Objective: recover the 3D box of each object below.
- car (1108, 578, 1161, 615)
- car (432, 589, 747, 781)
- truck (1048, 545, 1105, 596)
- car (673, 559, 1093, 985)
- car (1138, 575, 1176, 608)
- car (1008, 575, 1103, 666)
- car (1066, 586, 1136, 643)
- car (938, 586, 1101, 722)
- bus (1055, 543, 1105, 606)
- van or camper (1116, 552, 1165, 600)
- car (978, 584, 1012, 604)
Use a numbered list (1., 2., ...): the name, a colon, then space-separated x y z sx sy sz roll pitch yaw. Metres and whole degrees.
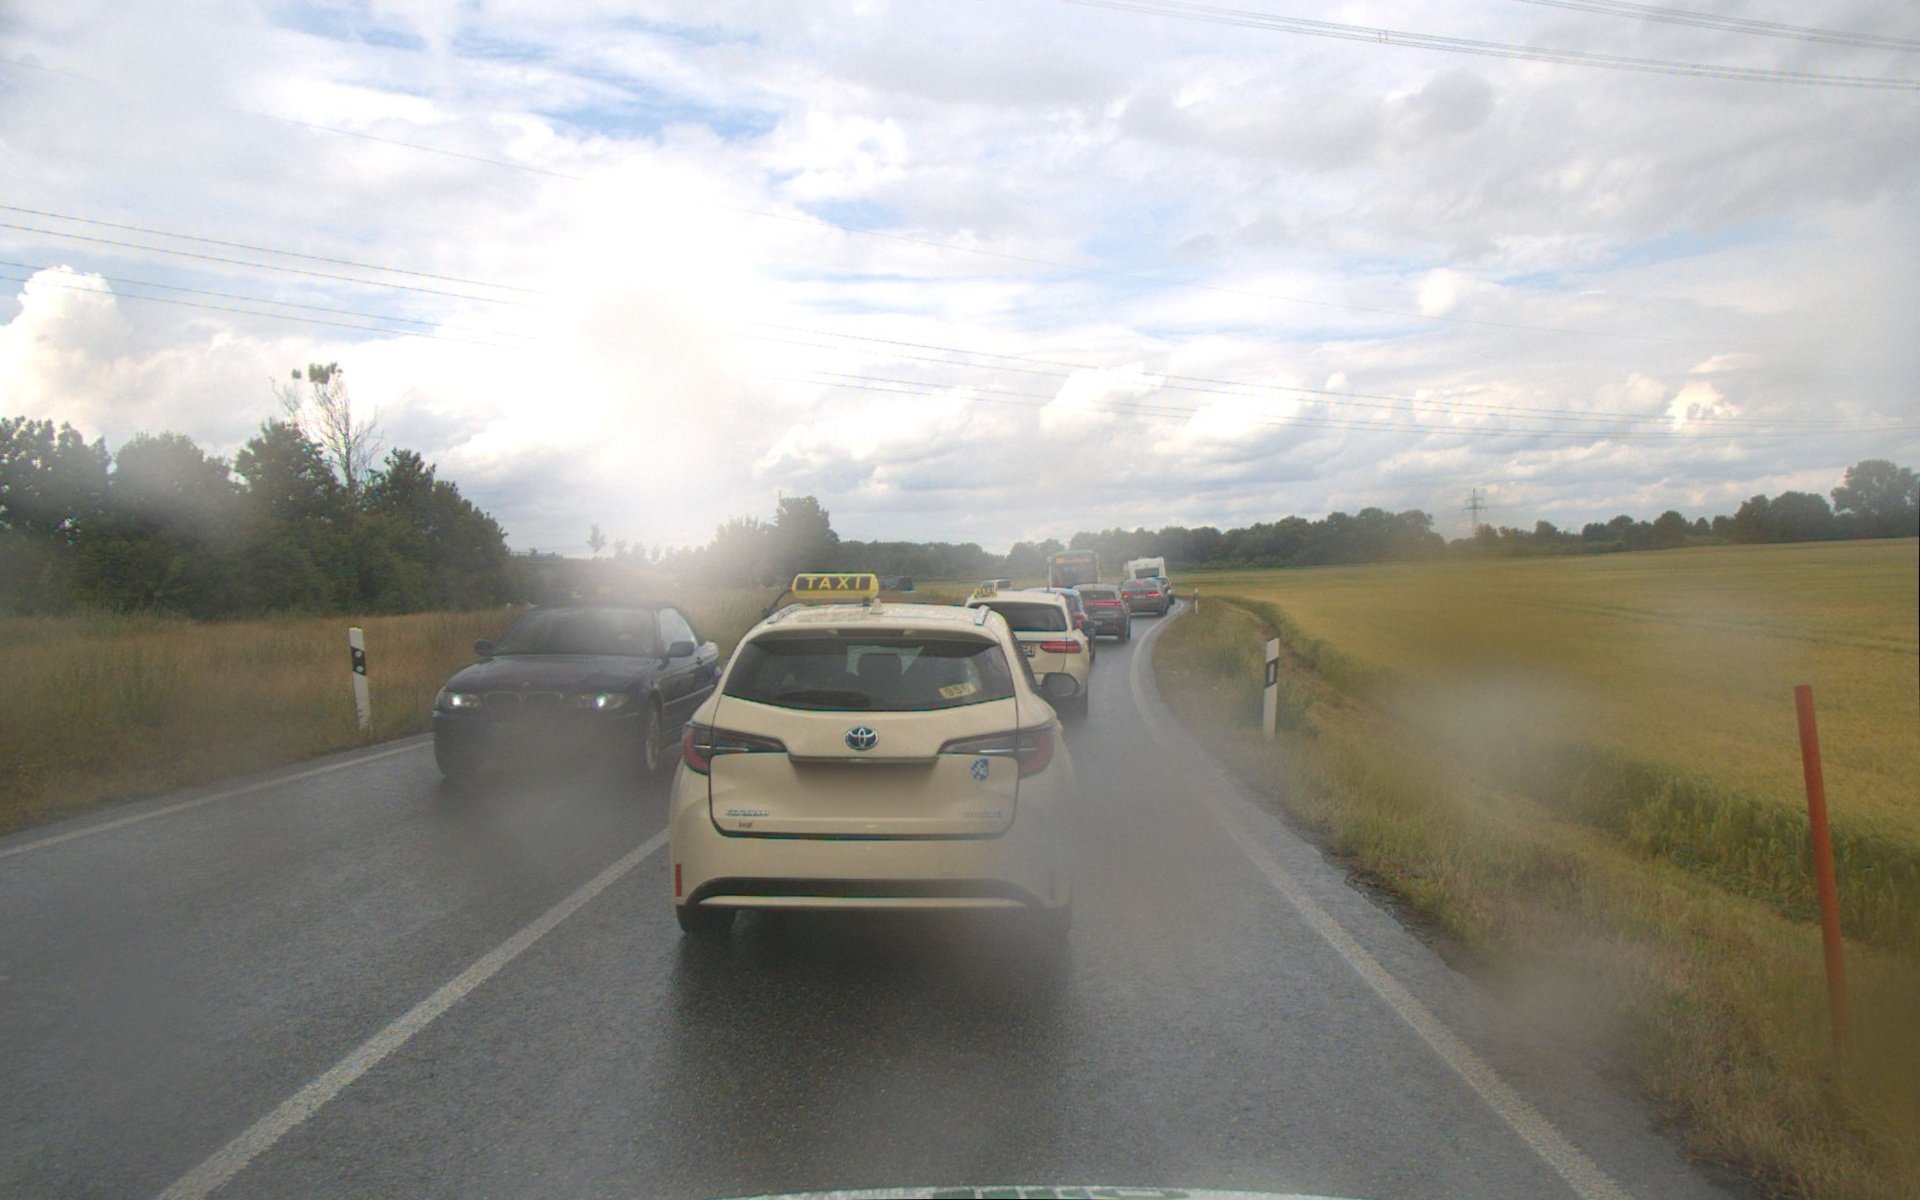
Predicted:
1. car: 7.153 -0.118 67.428 1.918 1.438 4.396 1 -1 9
2. car: -3.062 0.657 14.576 1.596 1.421 4.321 1 -1 3
3. truck: 9.408 -2.311 134.301 3.069 3.920 7.370 1 -1 -9
4. car: -0.218 0.668 8.150 1.579 1.589 3.739 1 -1 2
5. car: 10.716 -0.448 90.173 1.918 1.759 3.740 1 -1 5
6. car: 1.936 0.400 32.724 1.578 1.688 3.741 1 -1 8
7. car: 3.804 0.395 44.191 1.578 1.438 3.741 1 -1 9
8. car: 0.873 0.595 21.197 1.802 1.518 4.611 1 1 5
9. bus: 6.979 -1.439 95.662 2.700 3.355 12.510 0 1 5
10. van or camper: 11.475 -1.533 105.706 2.484 2.946 6.744 0 1 1
11. car: 3.253 -0.593 154.969 1.855 1.804 4.136 1 -1 -19
